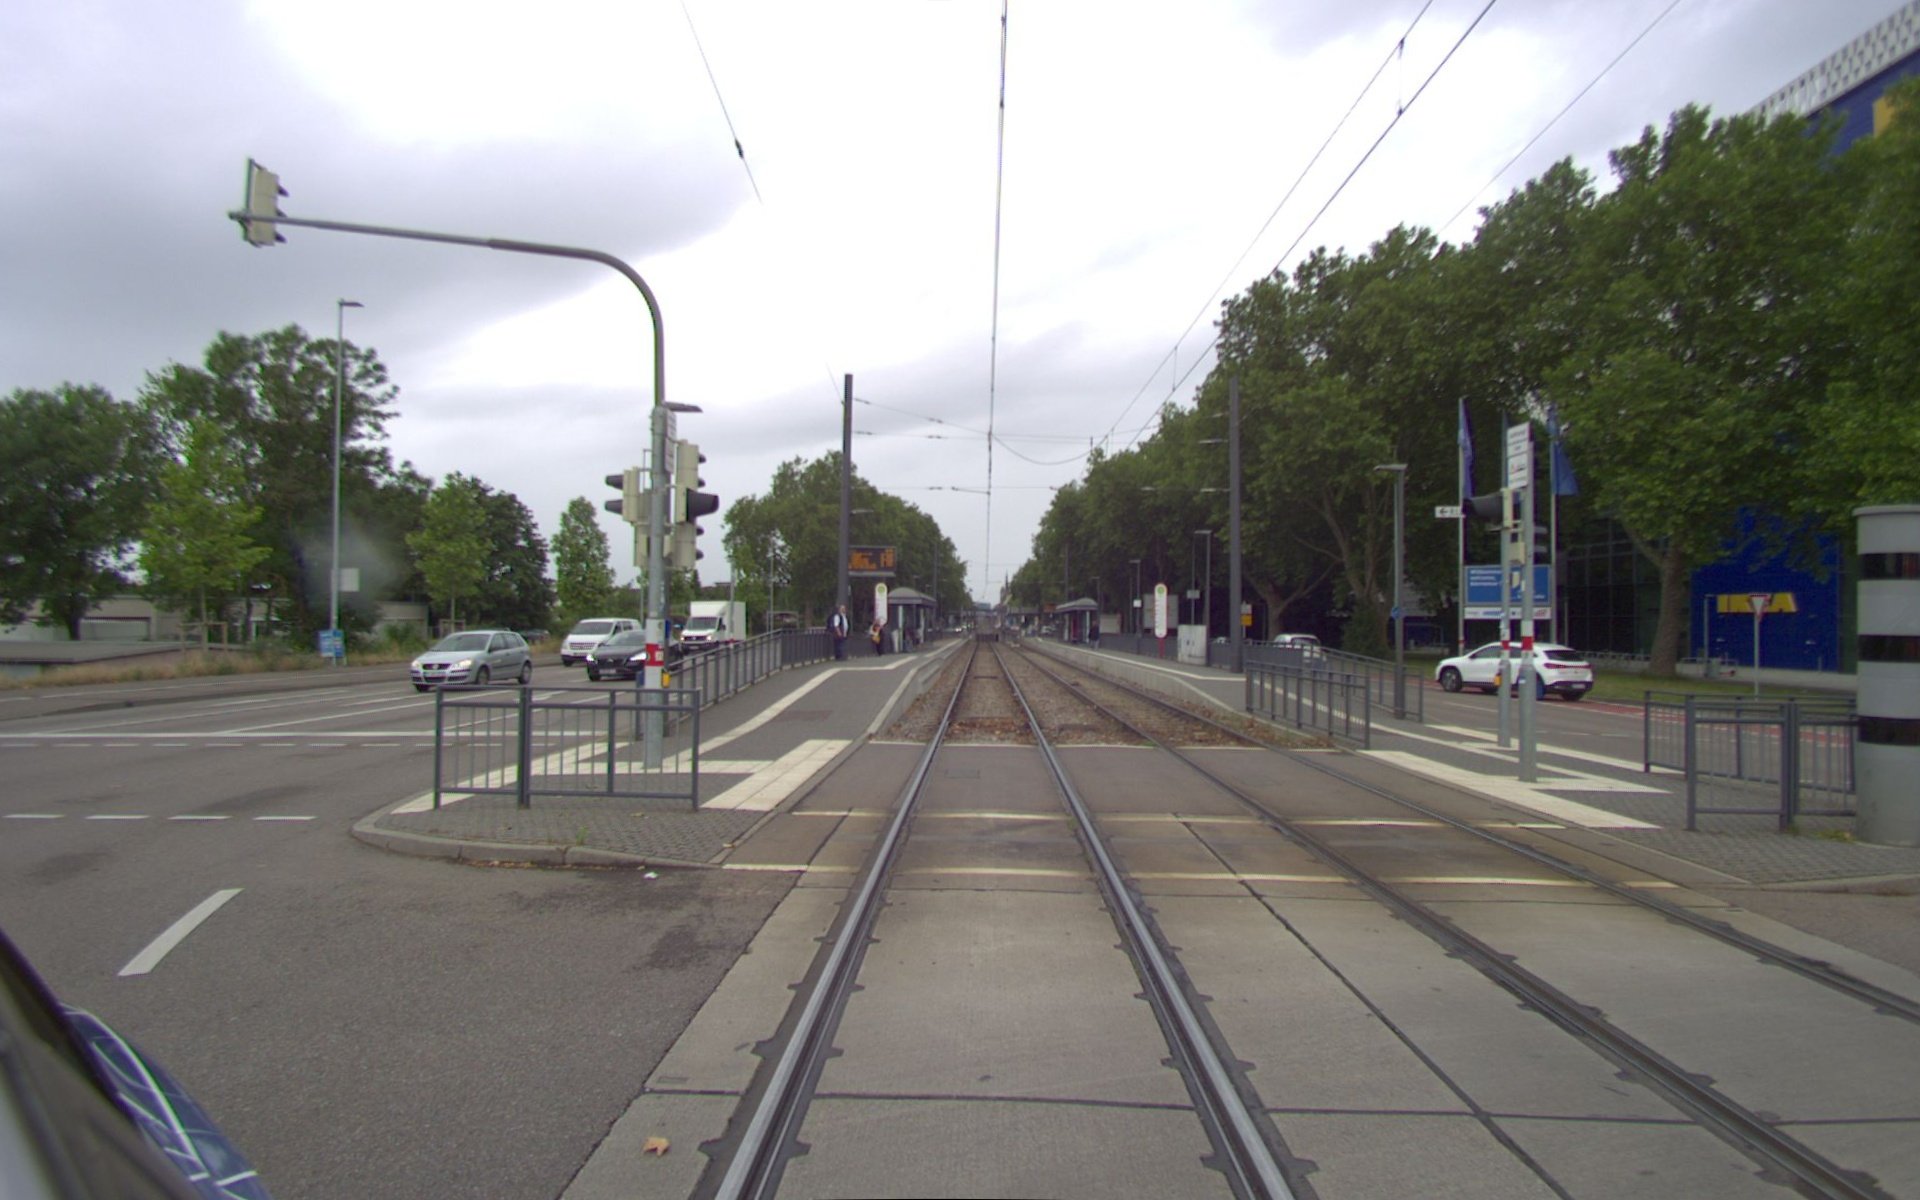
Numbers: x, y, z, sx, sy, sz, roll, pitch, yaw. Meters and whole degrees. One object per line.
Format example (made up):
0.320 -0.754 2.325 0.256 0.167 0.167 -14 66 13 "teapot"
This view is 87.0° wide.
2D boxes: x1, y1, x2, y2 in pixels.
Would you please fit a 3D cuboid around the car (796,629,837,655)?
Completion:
-9.954 2.901 70.283 1.871 1.696 3.992 -1 -1 6 "car"

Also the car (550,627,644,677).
-14.921 2.114 41.965 2.071 1.894 5.119 -1 -2 0 "car"

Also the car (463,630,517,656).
-39.251 3.571 84.625 2.161 2.029 4.554 2 -3 2 "car"

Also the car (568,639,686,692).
-9.603 1.864 29.573 1.972 1.401 4.342 -1 -2 1 "car"

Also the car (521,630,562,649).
-39.121 3.725 94.709 2.093 1.709 4.651 -1 -2 -2 "car"

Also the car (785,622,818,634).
-19.810 3.483 126.673 3.942 1.519 1.811 -1 -1 -2 "car"

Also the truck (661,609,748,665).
-14.433 2.105 57.693 2.793 2.946 6.532 -1 -2 6 "truck"

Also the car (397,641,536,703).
-12.478 1.786 25.850 1.660 1.430 3.848 -1 -2 1 "car"

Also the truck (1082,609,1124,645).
15.729 2.999 111.870 3.217 3.691 9.892 3 -2 1 "truck"

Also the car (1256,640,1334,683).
14.424 2.616 43.813 1.771 1.597 4.145 3 -1 -3 "car"

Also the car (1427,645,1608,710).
16.315 2.218 29.876 1.860 1.597 4.425 2 -1 -24 "car"

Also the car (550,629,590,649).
-40.132 4.048 104.206 2.286 2.029 4.555 -1 -3 1 "car"

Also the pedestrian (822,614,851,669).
-3.566 1.199 29.332 0.702 1.572 0.631 -1 -1 5 "pedestrian"

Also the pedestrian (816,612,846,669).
-4.003 1.254 31.421 0.778 1.755 0.586 -1 -1 6 "pedestrian"
